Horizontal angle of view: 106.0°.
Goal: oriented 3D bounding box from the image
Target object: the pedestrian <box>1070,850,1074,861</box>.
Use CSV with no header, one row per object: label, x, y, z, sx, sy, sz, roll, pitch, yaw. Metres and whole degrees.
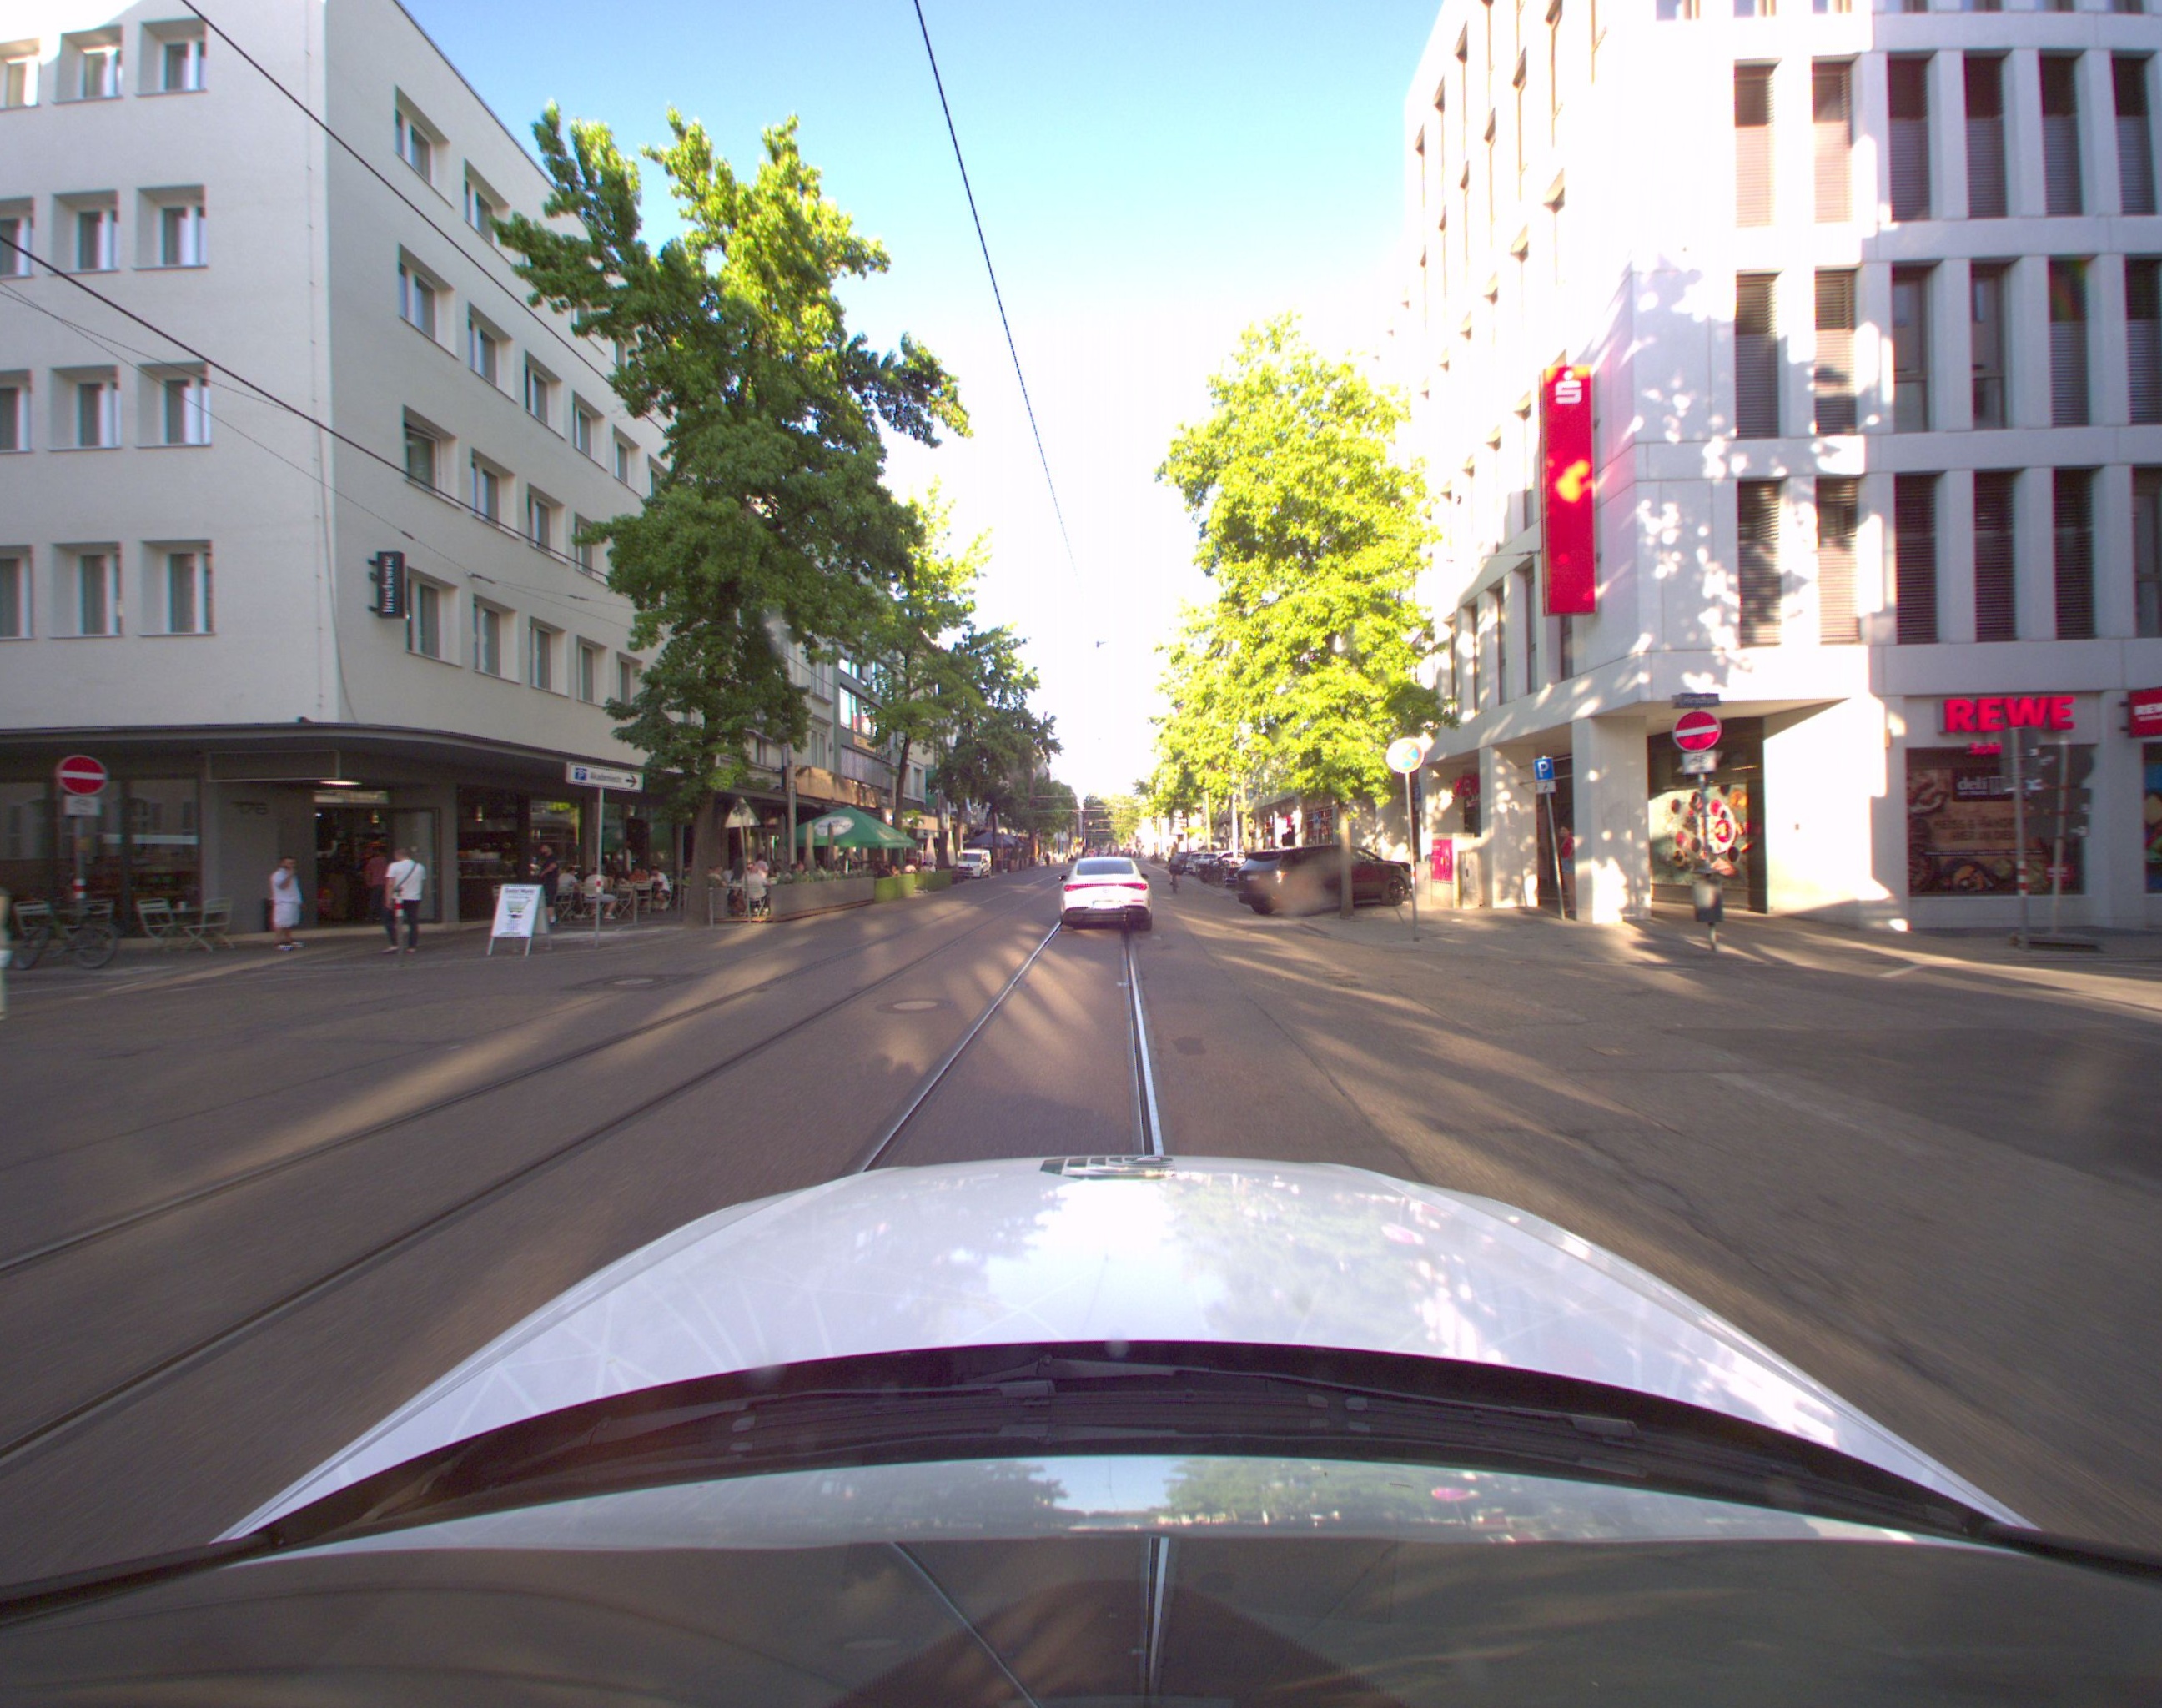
pedestrian,-1.528,0.293,141.201,0.536,1.929,0.574,-1,0,6

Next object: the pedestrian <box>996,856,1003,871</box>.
pedestrian,-6.768,0.750,67.393,0.493,1.228,0.535,0,0,1

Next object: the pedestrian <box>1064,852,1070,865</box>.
pedestrian,-1.987,0.673,118.029,0.784,1.801,0.845,-1,0,3

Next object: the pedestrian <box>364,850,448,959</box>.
pedestrian,-11.350,0.819,13.700,0.788,1.740,0.871,0,1,36

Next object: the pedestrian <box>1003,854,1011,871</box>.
pedestrian,-6.007,0.716,66.003,0.547,1.356,0.583,0,0,1

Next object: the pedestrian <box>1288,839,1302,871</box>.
pedestrian,12.204,0.063,46.490,0.555,1.750,0.525,-3,0,2

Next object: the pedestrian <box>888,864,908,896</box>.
pedestrian,-7.317,1.021,32.581,0.616,1.245,0.697,2,0,2

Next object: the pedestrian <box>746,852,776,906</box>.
pedestrian,-10.065,0.762,25.633,0.616,1.670,0.697,1,0,2

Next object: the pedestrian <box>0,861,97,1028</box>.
pedestrian,-11.198,0.920,8.462,0.704,1.656,0.968,-1,1,4

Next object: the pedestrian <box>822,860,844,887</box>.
pedestrian,-11.257,0.888,37.002,0.697,1.168,0.788,2,0,2

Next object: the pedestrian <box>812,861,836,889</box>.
pedestrian,-11.296,0.918,35.757,0.733,1.214,0.788,2,0,2

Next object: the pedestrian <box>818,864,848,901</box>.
pedestrian,-8.790,0.995,28.904,0.704,1.259,0.870,1,0,5

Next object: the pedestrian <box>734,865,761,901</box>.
pedestrian,-11.437,0.986,27.964,0.599,1.174,0.687,1,0,3

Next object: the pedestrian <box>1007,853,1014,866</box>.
pedestrian,-7.804,0.605,90.005,0.594,1.533,0.672,0,0,3

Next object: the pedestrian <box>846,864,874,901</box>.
pedestrian,-7.795,0.984,28.726,0.704,1.259,0.773,1,0,5

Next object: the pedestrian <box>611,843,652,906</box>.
pedestrian,-13.044,0.570,23.655,0.679,1.791,0.763,1,0,17

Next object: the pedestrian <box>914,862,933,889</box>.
pedestrian,-7.498,1.038,38.821,0.654,1.244,0.873,2,0,2

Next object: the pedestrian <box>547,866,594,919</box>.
pedestrian,-12.480,0.931,19.938,0.642,1.269,0.739,1,0,3

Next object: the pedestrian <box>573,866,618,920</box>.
pedestrian,-11.825,0.937,19.840,0.624,1.282,0.728,1,0,3

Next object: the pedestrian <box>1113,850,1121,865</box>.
pedestrian,4.225,0.396,96.034,0.838,1.801,0.791,1,0,3

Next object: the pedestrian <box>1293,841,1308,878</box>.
pedestrian,10.650,0.250,39.508,0.521,1.750,0.559,-4,0,4

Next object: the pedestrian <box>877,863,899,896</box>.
pedestrian,-7.504,1.000,31.680,0.616,1.245,0.697,2,0,2

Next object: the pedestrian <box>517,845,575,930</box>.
pedestrian,-11.704,0.709,17.832,0.679,1.815,0.767,1,0,18

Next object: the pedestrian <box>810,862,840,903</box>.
pedestrian,-8.657,0.939,27.556,0.704,1.347,0.782,1,0,5

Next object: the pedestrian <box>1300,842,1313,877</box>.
pedestrian,10.915,0.250,39.497,0.514,1.696,0.551,-1,0,7

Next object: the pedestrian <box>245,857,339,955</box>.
pedestrian,-13.752,0.875,14.227,0.797,1.614,0.862,-1,2,-15

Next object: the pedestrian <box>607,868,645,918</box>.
pedestrian,-11.666,0.997,20.879,0.550,1.235,0.687,1,0,3

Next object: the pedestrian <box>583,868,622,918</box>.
pedestrian,-12.205,0.973,20.771,0.550,1.235,0.687,1,0,3

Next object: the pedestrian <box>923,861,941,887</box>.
pedestrian,-7.283,0.979,39.832,0.654,1.193,0.798,2,0,2

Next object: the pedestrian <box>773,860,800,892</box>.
pedestrian,-11.705,0.879,32.393,0.733,1.231,0.788,2,0,2

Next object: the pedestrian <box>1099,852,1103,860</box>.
pedestrian,4.594,0.413,184.303,0.797,1.782,0.849,1,0,1

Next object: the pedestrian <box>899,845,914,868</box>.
pedestrian,-11.214,0.177,52.275,0.767,1.467,0.765,2,0,0

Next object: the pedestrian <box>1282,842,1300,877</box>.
pedestrian,10.094,0.260,39.146,0.679,1.696,0.548,-1,0,-10

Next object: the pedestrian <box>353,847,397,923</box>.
pedestrian,-15.147,0.656,17.485,0.399,1.604,0.625,-1,0,36

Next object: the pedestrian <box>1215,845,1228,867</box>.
pedestrian,11.274,0.174,65.531,0.681,1.731,0.636,-4,0,44

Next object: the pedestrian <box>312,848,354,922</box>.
pedestrian,-16.605,0.680,18.086,0.501,1.604,0.616,-1,0,-24

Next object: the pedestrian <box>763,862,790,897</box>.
pedestrian,-11.183,0.933,29.951,0.667,1.242,0.799,1,0,2

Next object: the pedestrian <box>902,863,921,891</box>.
pedestrian,-8.099,1.093,38.866,0.654,1.293,0.798,2,0,2

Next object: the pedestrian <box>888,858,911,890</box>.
pedestrian,-8.046,0.873,36.088,0.751,1.343,0.873,2,0,2

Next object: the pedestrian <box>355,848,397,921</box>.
pedestrian,-15.768,0.669,18.223,0.399,1.604,0.625,-1,0,36

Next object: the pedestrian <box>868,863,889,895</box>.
pedestrian,-8.137,0.982,32.687,0.616,1.245,0.697,2,0,2

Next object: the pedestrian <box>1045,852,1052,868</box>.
pedestrian,-3.233,0.562,81.222,0.619,1.550,0.853,1,0,3

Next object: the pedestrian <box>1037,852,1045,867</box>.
pedestrian,-3.924,0.530,80.373,0.619,1.509,0.834,1,0,3

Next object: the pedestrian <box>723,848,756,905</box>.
pedestrian,-10.690,0.696,25.495,0.675,1.757,0.698,1,0,4

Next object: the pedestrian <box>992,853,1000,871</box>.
pedestrian,-6.898,0.670,66.083,0.547,1.429,0.583,0,0,1

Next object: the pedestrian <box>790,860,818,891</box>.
pedestrian,-11.483,0.868,33.736,0.774,1.237,0.945,2,0,2

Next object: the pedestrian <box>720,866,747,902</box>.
pedestrian,-11.522,0.976,26.989,0.550,1.161,0.687,1,0,3

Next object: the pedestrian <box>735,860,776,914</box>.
pedestrian,-8.491,0.848,21.255,0.686,1.386,0.807,1,0,3
